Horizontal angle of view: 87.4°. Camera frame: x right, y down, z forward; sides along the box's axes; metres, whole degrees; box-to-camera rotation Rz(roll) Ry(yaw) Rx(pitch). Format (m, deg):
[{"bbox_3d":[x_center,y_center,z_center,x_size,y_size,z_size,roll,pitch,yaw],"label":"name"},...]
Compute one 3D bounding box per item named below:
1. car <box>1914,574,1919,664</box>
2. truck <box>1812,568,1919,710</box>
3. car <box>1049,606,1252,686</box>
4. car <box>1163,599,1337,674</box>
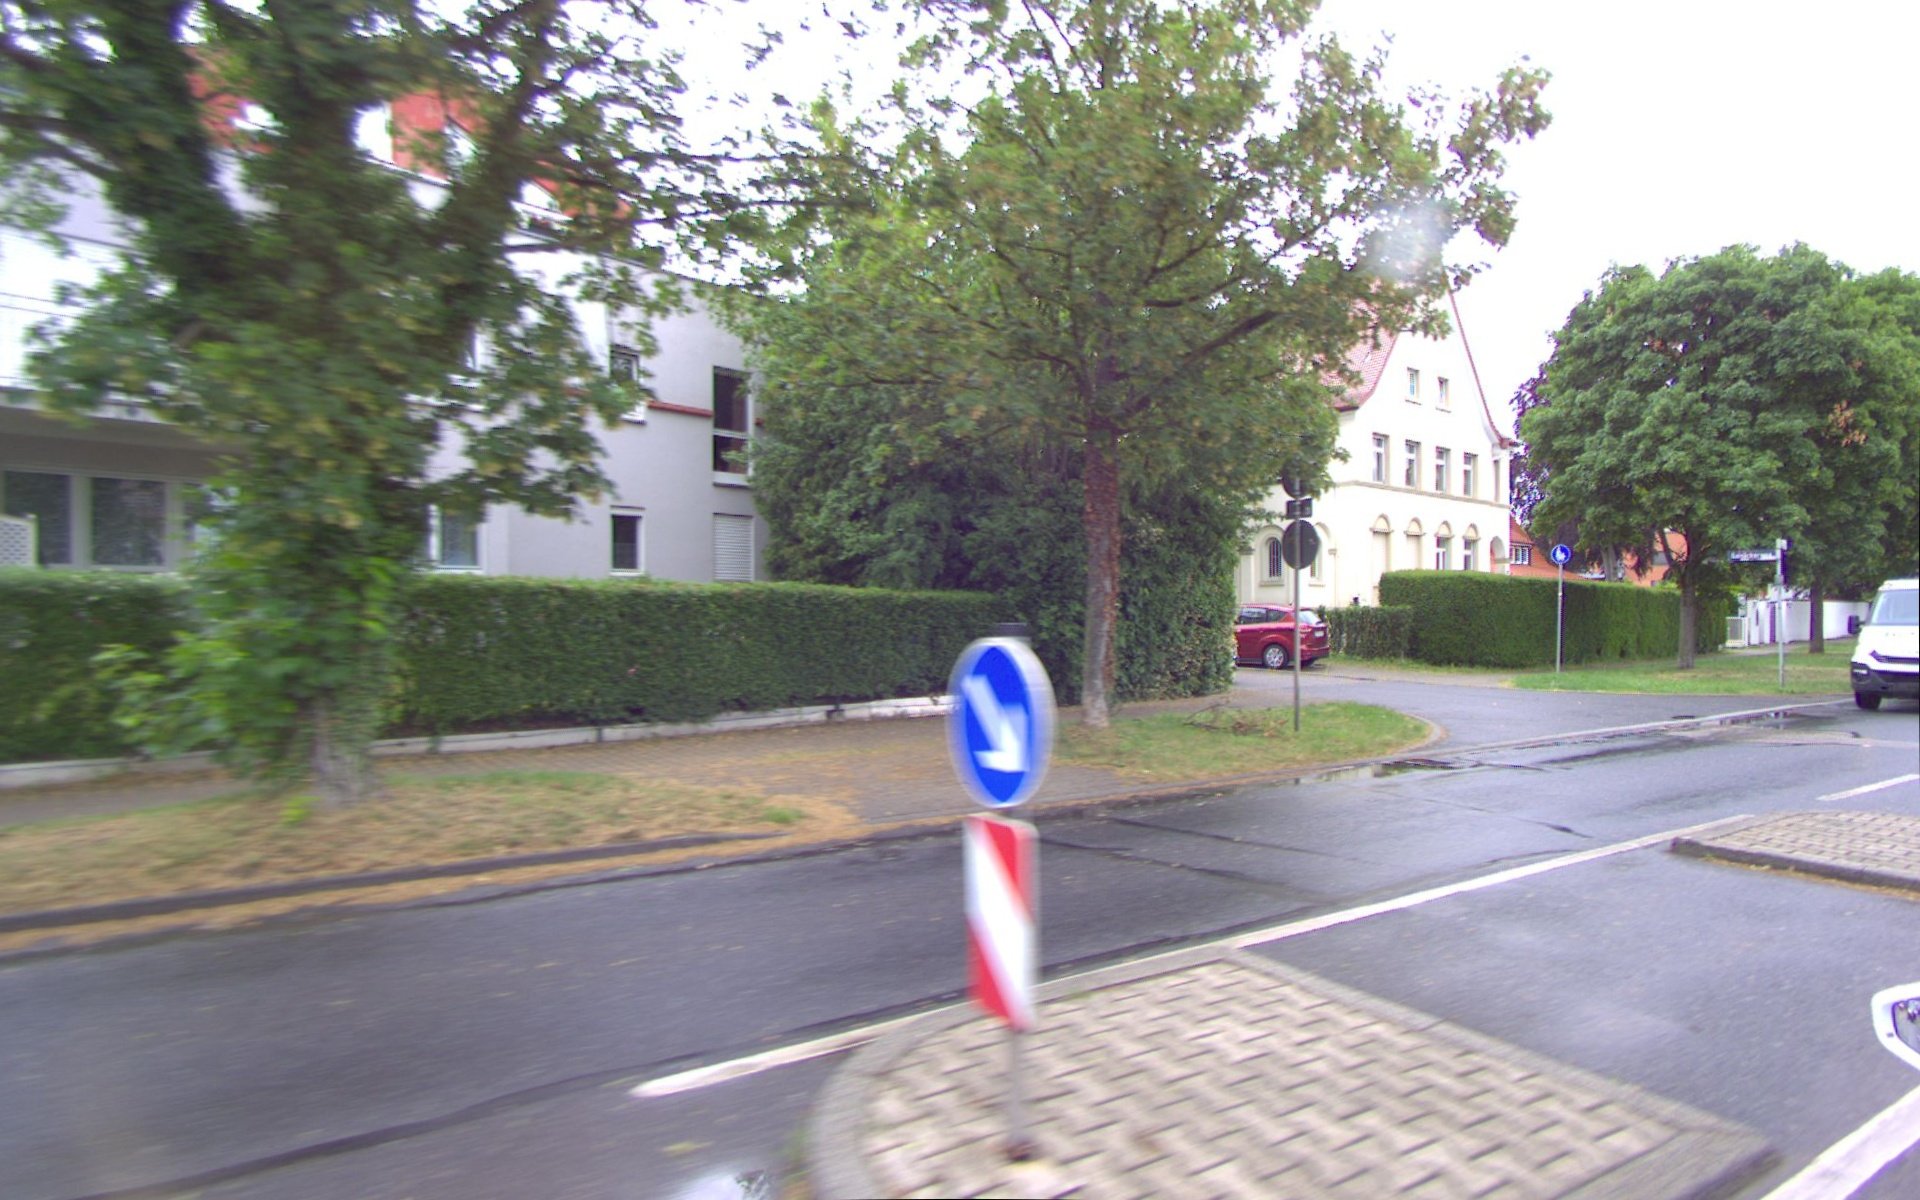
[{"bbox_3d":[32.458,0.618,32.249,5.889,2.765,1.977,0,1,-40],"label":"car"},{"bbox_3d":[17.699,0.661,17.846,6.395,2.233,2.204,1,0,-34],"label":"truck"},{"bbox_3d":[3.984,0.901,21.413,3.971,1.493,1.684,1,0,43],"label":"car"},{"bbox_3d":[7.378,0.855,25.763,3.971,1.674,1.683,1,3,43],"label":"car"}]
